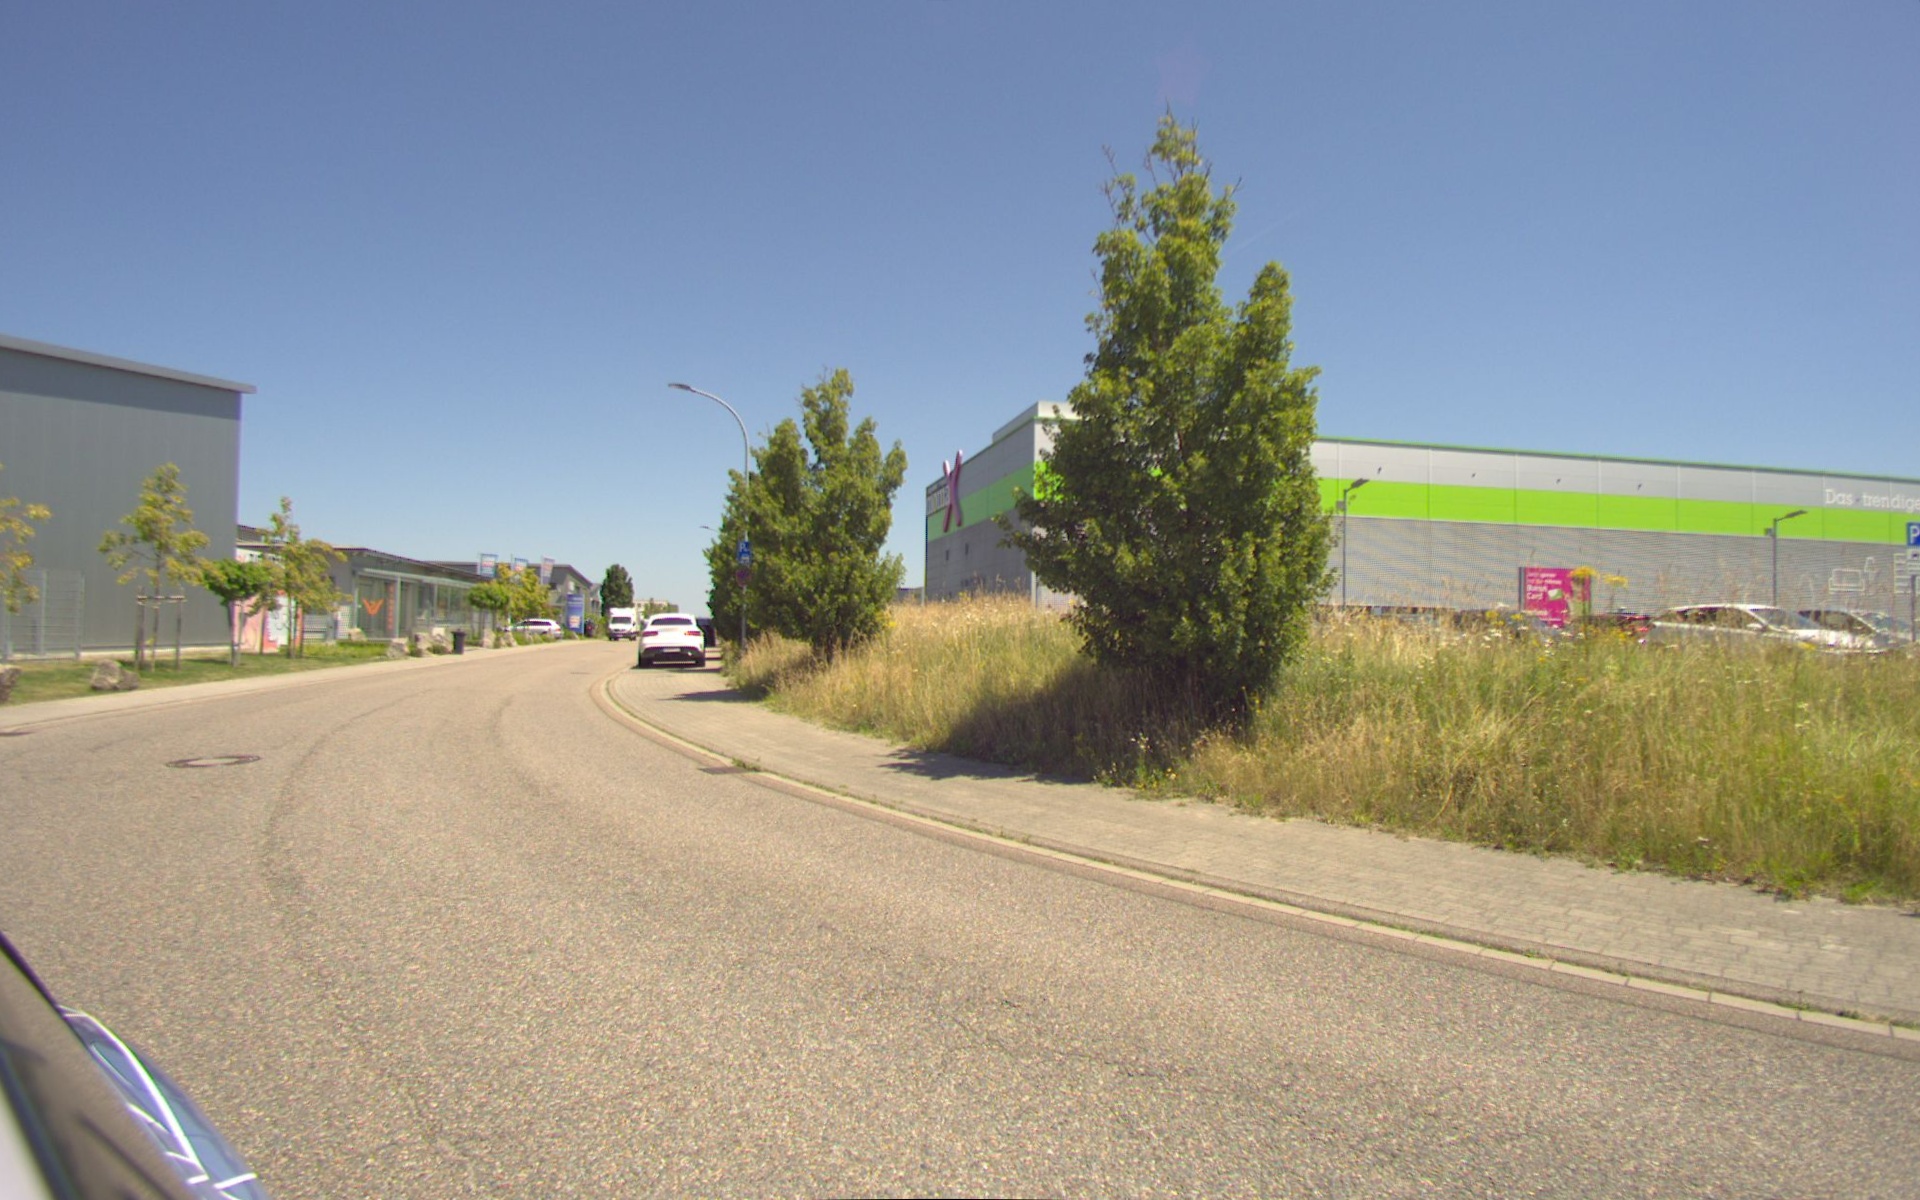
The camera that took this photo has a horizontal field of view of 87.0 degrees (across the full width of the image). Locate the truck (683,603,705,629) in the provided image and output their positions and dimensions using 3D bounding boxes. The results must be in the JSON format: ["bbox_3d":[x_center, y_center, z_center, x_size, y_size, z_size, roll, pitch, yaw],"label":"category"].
[{"bbox_3d":[-23.681,1.455,90.062,1.826,2.239,4.658,0,-2,-14],"label":"truck"}]

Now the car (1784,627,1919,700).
[{"bbox_3d":[19.241,1.255,20.399,1.614,1.410,3.809,1,-2,-16],"label":"car"}]

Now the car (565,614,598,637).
[{"bbox_3d":[-34.884,2.341,93.450,1.967,2.029,5.348,1,-1,-11],"label":"car"}]

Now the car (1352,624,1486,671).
[{"bbox_3d":[13.903,1.423,30.927,1.466,1.335,4.011,1,-2,-16],"label":"car"}]

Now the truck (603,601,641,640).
[{"bbox_3d":[-29.675,1.733,88.963,2.424,3.229,6.899,0,0,-12],"label":"truck"}]

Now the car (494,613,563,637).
[{"bbox_3d":[-29.998,1.763,70.466,4.220,1.553,1.918,2,-2,-16],"label":"car"}]

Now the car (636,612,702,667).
[{"bbox_3d":[-9.409,1.250,33.021,1.886,1.668,4.767,1,-1,-14],"label":"car"}]

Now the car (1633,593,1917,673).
[{"bbox_3d":[16.132,0.654,20.329,1.966,1.423,4.011,1,-2,-16],"label":"car"}]

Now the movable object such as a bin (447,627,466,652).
[{"bbox_3d":[-20.391,1.599,40.977,0.551,0.954,0.541,2,-2,-15],"label":"movable object such as a bin"}]
